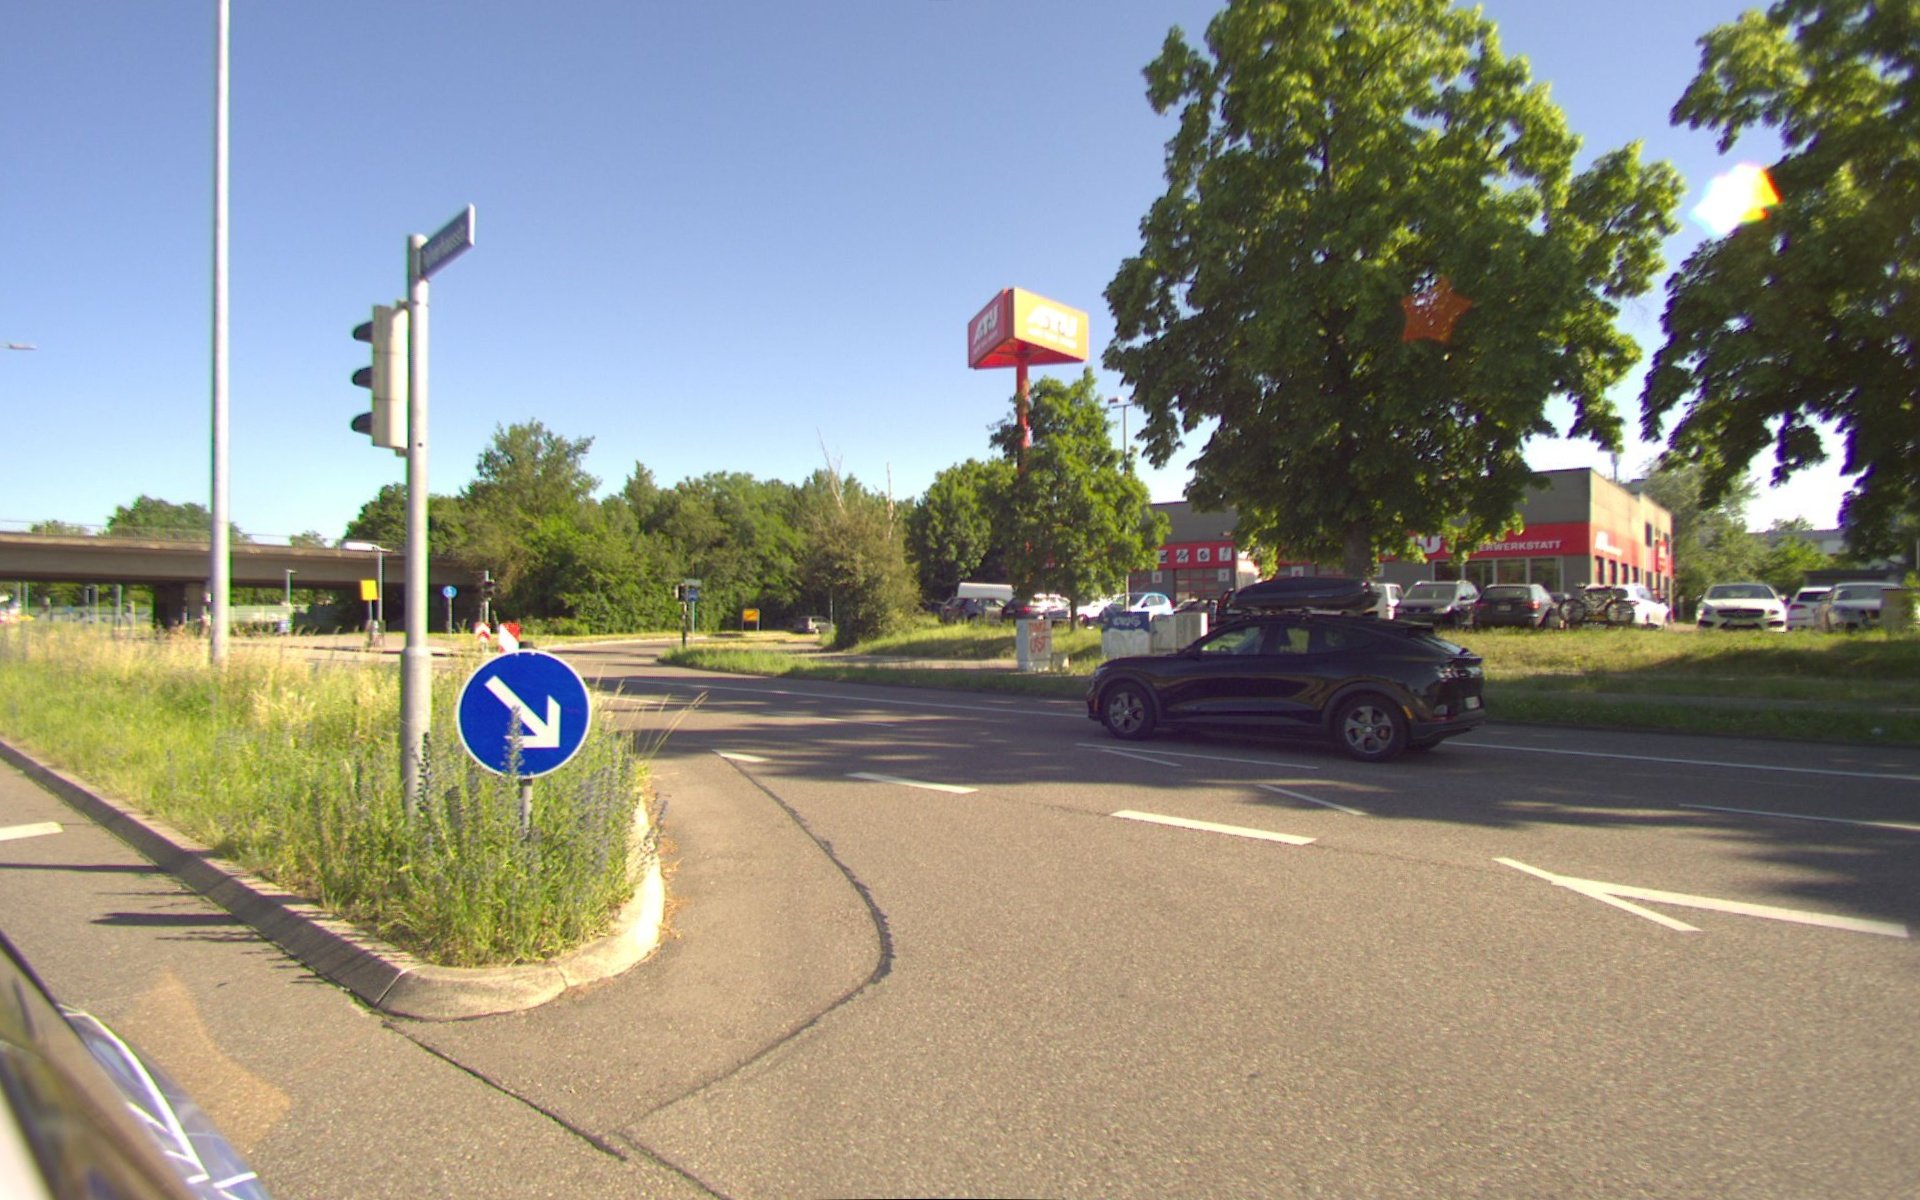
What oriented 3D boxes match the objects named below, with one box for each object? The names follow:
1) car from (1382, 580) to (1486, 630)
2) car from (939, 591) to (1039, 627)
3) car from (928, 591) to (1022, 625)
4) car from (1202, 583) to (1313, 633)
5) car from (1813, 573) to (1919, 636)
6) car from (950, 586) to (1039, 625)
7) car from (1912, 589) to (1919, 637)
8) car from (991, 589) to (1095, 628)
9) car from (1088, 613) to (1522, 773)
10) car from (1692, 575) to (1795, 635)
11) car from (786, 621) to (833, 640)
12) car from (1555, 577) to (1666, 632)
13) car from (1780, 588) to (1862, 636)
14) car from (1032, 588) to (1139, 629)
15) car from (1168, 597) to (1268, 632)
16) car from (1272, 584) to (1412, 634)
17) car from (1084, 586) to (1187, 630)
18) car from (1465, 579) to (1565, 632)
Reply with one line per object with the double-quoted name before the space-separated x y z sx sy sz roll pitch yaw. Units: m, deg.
"car" 14.522 0.189 30.880 1.945 1.399 4.077 -1 -2 39
"car" 1.290 0.418 44.996 4.060 1.563 1.901 0 -1 -27
"car" 0.696 0.409 47.921 4.060 1.563 1.901 0 -1 -18
"car" 10.022 0.304 33.909 1.947 1.563 4.073 -1 -2 43
"car" 22.327 0.143 24.752 1.943 1.399 4.080 -1 -2 37
"car" 2.010 0.312 58.140 4.989 2.168 1.890 0 -1 9
"car" 31.052 0.405 31.550 1.895 1.466 4.073 -1 -2 42
"car" 3.435 0.369 41.731 4.064 1.563 1.900 1 -2 -37
"car" 3.955 0.977 12.106 4.570 1.554 1.856 -1 -3 41
"car" 20.074 0.161 26.036 1.943 1.399 4.080 -1 -2 37
"car" -11.670 2.353 78.892 1.773 1.436 4.352 1 -1 20
"car" 17.974 0.161 27.865 1.945 1.399 4.572 -1 -2 41
"car" 28.569 0.417 33.548 1.895 1.466 4.073 -1 -2 42
"car" 4.985 0.360 39.833 4.065 1.563 1.899 1 -2 -39
"car" 11.553 0.670 45.475 3.983 1.466 1.760 -1 -2 42
"car" 15.748 0.403 41.920 5.131 1.971 1.759 -1 -2 44
"car" 6.662 0.319 38.139 4.070 1.563 1.820 1 -2 -45
"car" 15.958 0.183 29.021 1.943 1.399 4.080 -1 -2 37
